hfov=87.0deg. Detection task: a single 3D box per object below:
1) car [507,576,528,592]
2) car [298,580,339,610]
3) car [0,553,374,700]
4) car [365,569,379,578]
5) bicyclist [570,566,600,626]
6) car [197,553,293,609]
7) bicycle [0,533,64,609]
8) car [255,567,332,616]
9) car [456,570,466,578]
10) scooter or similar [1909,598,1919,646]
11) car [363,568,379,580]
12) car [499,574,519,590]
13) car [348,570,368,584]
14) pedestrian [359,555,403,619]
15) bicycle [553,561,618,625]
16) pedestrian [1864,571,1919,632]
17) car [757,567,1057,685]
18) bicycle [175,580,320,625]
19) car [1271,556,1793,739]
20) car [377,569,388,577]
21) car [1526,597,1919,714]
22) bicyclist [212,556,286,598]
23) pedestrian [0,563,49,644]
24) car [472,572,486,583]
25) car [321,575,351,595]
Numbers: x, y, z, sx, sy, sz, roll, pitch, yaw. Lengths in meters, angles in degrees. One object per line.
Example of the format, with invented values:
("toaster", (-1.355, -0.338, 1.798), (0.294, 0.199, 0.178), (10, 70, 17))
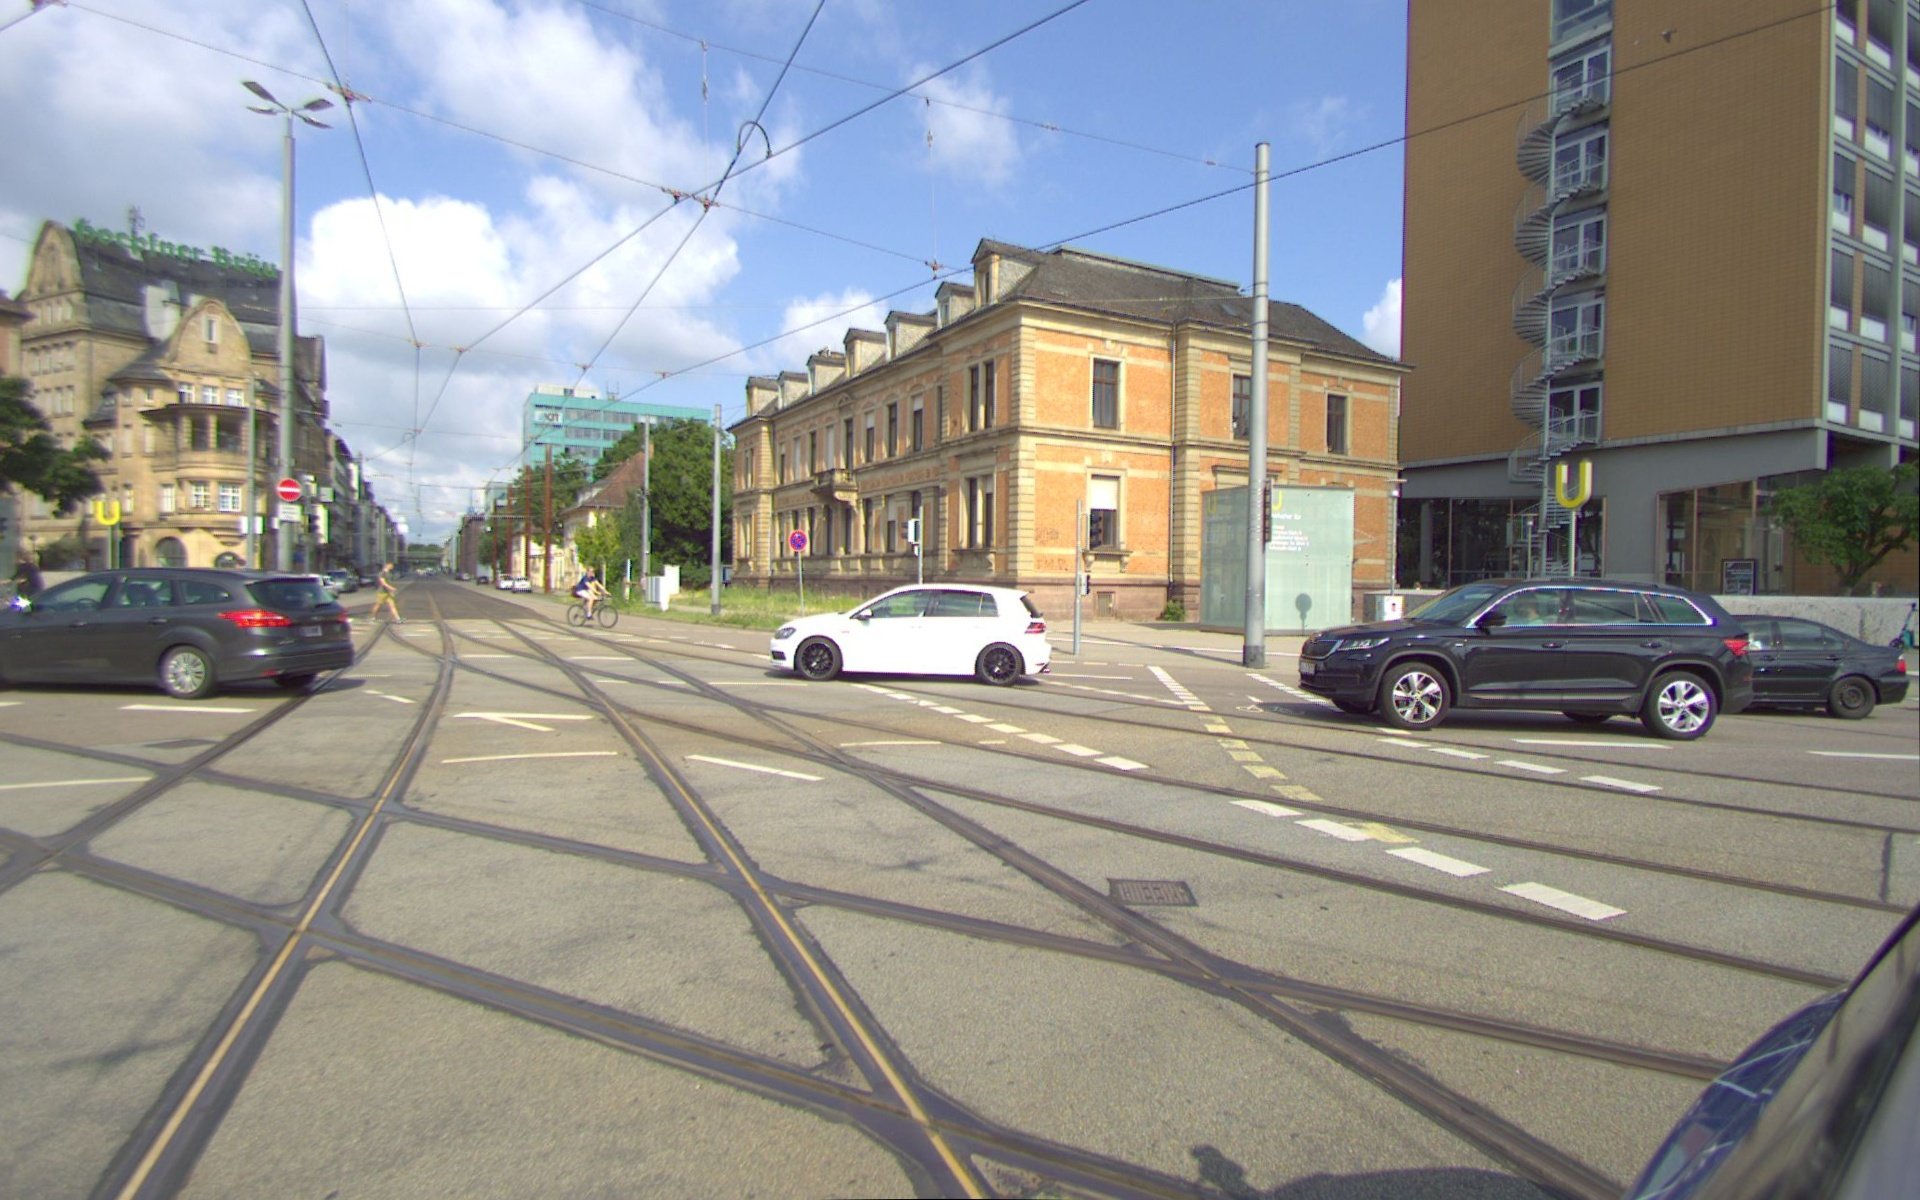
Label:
("car", (-43.884, -1.608, 100.389), (1.720, 1.549, 4.007), (1, 1, -26))
("car", (-39.273, -0.359, 62.045), (1.814, 1.682, 4.007), (-1, 3, -28))
("car", (-9.531, 0.252, 12.002), (4.177, 1.547, 1.772), (1, 1, 2))
("car", (-95.152, -4.286, 163.866), (1.814, 1.557, 3.828), (0, 1, -28))
("bicyclist", (-10.765, -0.128, 29.057), (0.643, 1.691, 0.574), (0, 2, -2))
("car", (-24.329, -0.698, 34.581), (1.959, 1.760, 4.349), (-1, 2, -26))
("bicycle", (-22.564, -0.710, 24.091), (2.444, 1.746, 1.000), (1, 2, 26))
("car", (-27.192, -0.409, 41.437), (1.959, 1.614, 4.697), (-1, 5, -25))
("car", (-112.723, -5.821, 228.598), (1.876, 1.625, 4.006), (1, 1, -28))
("scooter or similar", (23.970, 0.569, 24.621), (1.182, 1.144, 0.398), (5, 6, 40))
("car", (-83.259, -3.658, 143.148), (1.814, 1.557, 3.828), (0, 1, -28))
("car", (-52.233, -2.108, 117.208), (1.876, 1.791, 4.006), (1, 1, -28))
("car", (-70.412, -2.724, 118.478), (1.814, 1.557, 3.828), (-1, 3, -28))
("pedestrian", (-16.915, -0.392, 29.567), (0.868, 1.832, 0.869), (0, 2, -11))
("bicycle", (-10.722, -0.202, 29.034), (1.605, 1.799, 0.732), (0, 2, -2))
("pedestrian", (26.585, 0.033, 28.874), (0.932, 1.606, 0.757), (5, 7, 31))
("car", (-0.733, 0.350, 14.980), (4.154, 1.464, 1.684), (3, 0, 2))
("bicycle", (-18.325, 0.052, 26.074), (3.050, 1.040, 0.996), (-1, 1, 1))
("car", (6.107, 0.474, 11.288), (4.596, 1.689, 1.999), (2, 0, 2))
("car", (-110.157, -5.129, 193.055), (1.814, 1.557, 3.828), (0, 1, -28))
("car", (10.938, 0.738, 14.527), (4.427, 1.415, 1.998), (2, 0, 3))
("bicyclist", (-18.293, -0.594, 26.069), (1.192, 1.040, 0.993), (-2, 1, 0))
("pedestrian", (-22.562, 0.063, 24.099), (0.986, 1.864, 0.987), (1, 2, 25))
("car", (-78.666, -3.708, 165.607), (1.876, 1.625, 4.006), (1, 1, -28))
("car", (-51.622, -1.279, 83.758), (1.814, 1.557, 3.828), (-1, 3, -28))
